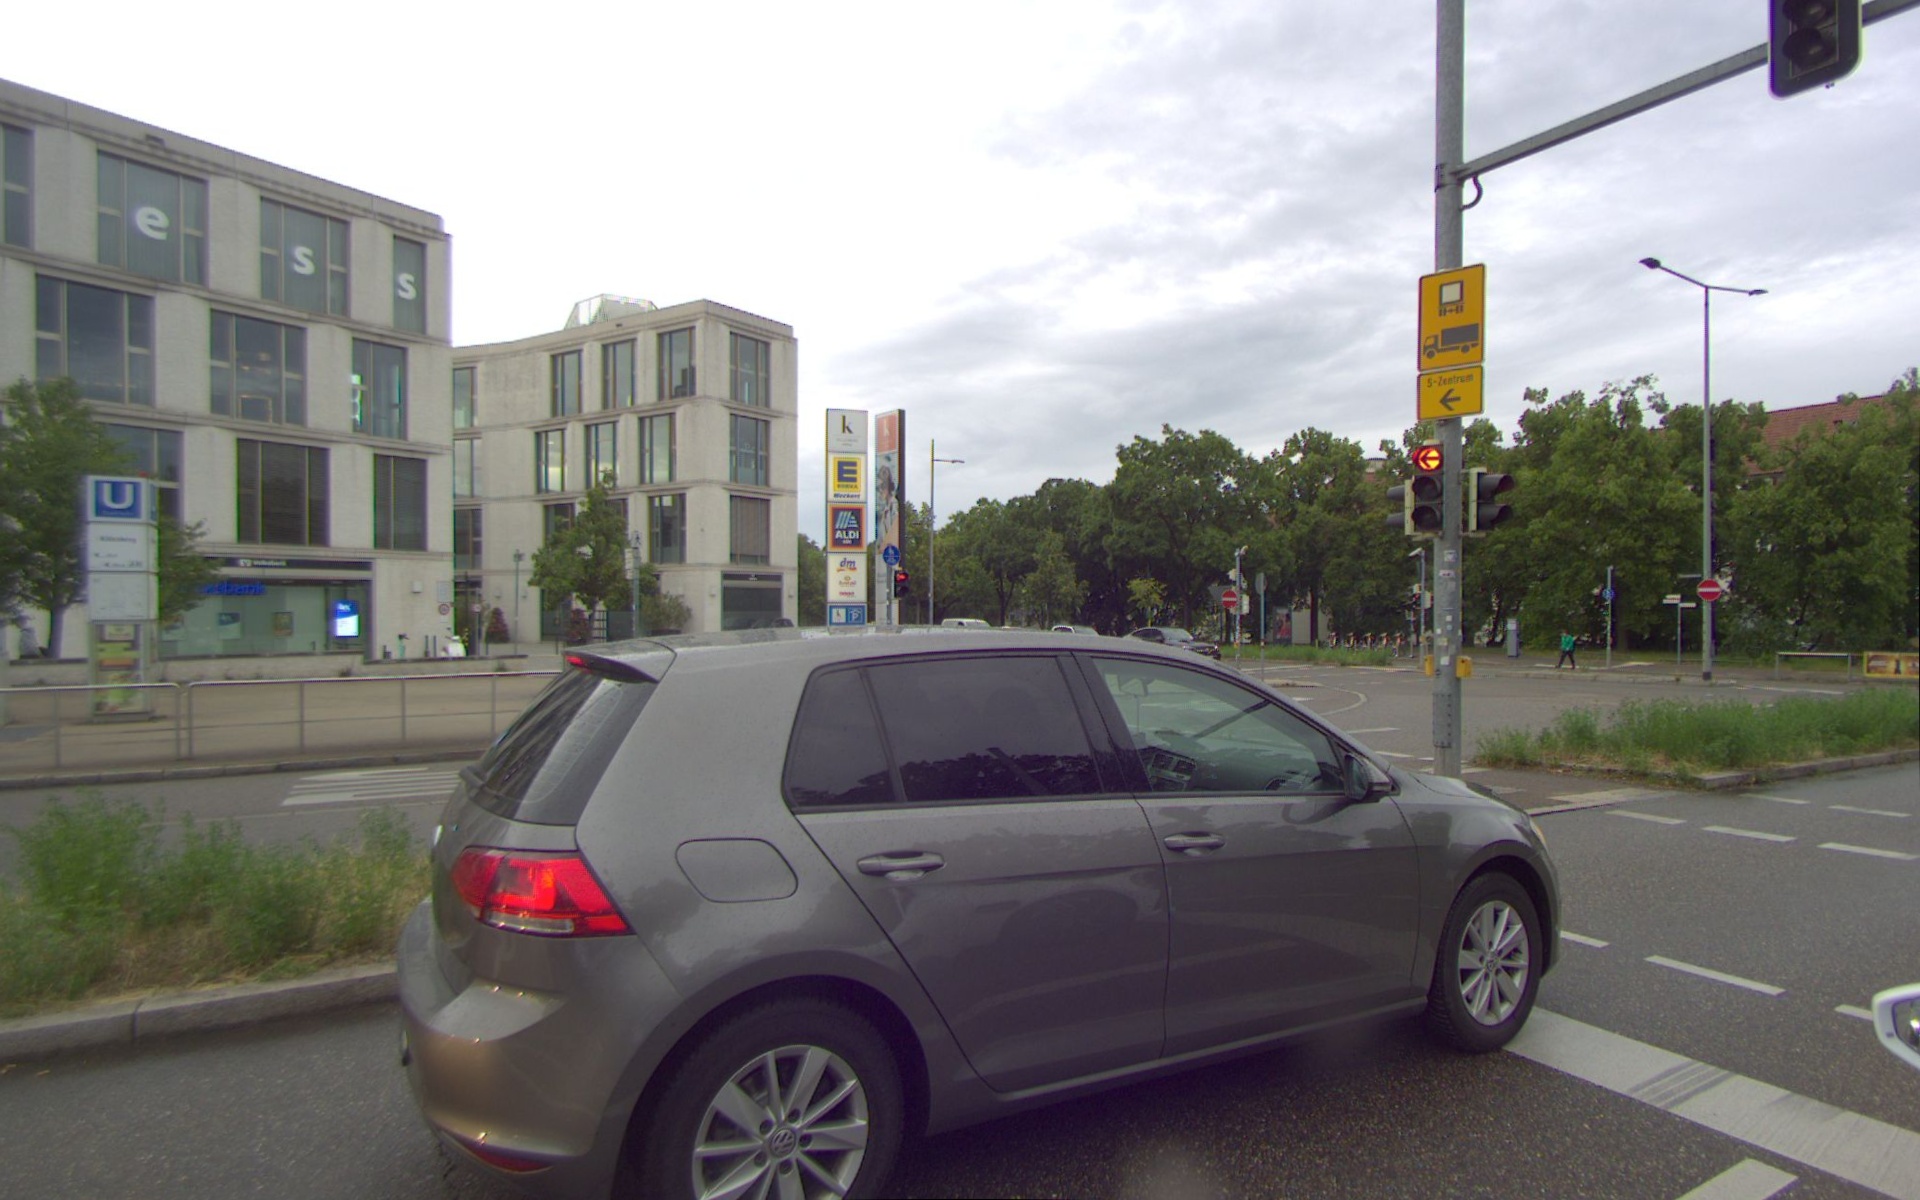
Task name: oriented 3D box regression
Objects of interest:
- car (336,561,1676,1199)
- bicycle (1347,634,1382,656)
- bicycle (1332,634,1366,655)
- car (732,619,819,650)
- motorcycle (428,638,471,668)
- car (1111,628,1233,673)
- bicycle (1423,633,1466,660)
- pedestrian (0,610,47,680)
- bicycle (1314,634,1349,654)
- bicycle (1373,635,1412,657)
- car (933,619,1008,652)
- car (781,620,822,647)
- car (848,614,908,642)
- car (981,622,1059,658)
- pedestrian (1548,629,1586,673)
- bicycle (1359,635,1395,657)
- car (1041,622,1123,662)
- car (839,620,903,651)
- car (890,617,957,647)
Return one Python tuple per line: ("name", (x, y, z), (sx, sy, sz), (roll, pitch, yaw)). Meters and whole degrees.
("car", (0.417, 0.750, 3.506), (4.325, 1.501, 1.807), (2, -1, -30))
("bicycle", (21.364, 2.373, 53.028), (1.959, 1.085, 0.649), (2, 0, -30))
("bicycle", (20.931, 2.384, 54.029), (1.959, 1.085, 0.649), (2, 0, -30))
("car", (-9.194, 1.714, 50.310), (1.968, 1.483, 3.985), (0, -2, 37))
("motorcycle", (-14.205, 1.472, 27.942), (1.081, 0.750, 0.522), (2, 0, 29))
("car", (8.389, 1.961, 40.234), (1.976, 1.520, 5.001), (2, 0, -29))
("bicycle", (23.752, 2.289, 49.256), (1.959, 1.266, 0.986), (2, 0, -30))
("pedestrian", (-22.234, 1.061, 23.766), (0.908, 1.626, 0.754), (2, -1, -43))
("bicycle", (20.260, 2.398, 54.758), (1.959, 1.085, 0.649), (2, 0, -30))
("bicycle", (22.236, 2.356, 51.644), (1.959, 1.085, 0.798), (2, 0, -30))
("car", (0.525, 1.941, 55.398), (1.976, 1.615, 4.855), (2, 0, -29))
("car", (-12.788, 2.664, 80.733), (1.976, 2.040, 3.969), (1, -1, -29))
("car", (-5.466, 1.813, 66.105), (1.977, 1.615, 4.852), (2, 0, -31))
("car", (2.973, 1.992, 50.835), (1.976, 1.615, 4.185), (2, 0, -29))
("pedestrian", (25.011, 2.095, 41.393), (0.932, 1.750, 0.921), (2, 0, -22))
("bicycle", (21.665, 2.390, 52.168), (1.959, 1.085, 0.649), (2, 0, -30))
("car", (5.550, 1.905, 46.020), (1.976, 1.615, 3.536), (2, 0, -30))
("car", (-5.336, 2.108, 59.691), (1.976, 1.615, 4.855), (2, 0, -29))
("car", (-2.264, 1.883, 60.386), (1.976, 1.615, 4.855), (2, 0, -29))
